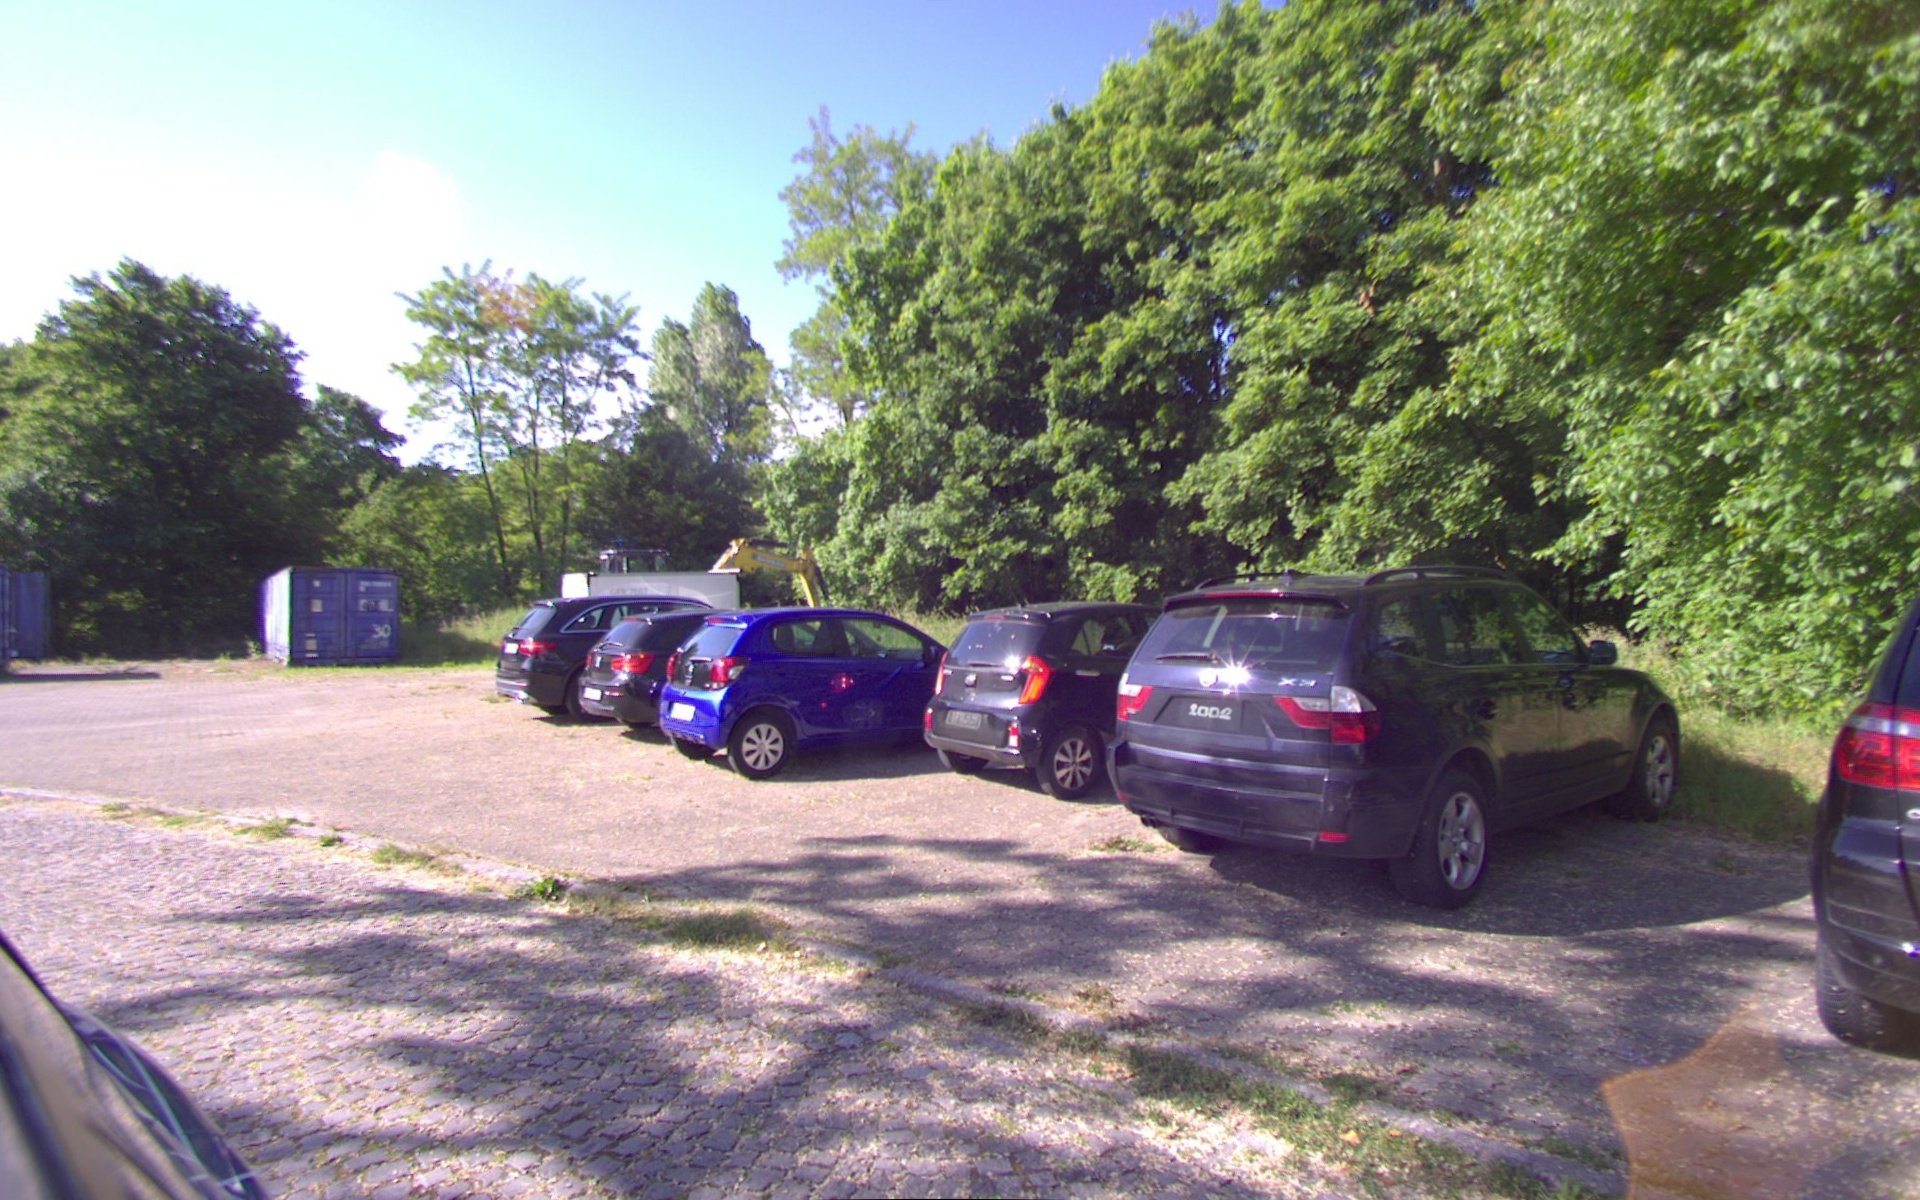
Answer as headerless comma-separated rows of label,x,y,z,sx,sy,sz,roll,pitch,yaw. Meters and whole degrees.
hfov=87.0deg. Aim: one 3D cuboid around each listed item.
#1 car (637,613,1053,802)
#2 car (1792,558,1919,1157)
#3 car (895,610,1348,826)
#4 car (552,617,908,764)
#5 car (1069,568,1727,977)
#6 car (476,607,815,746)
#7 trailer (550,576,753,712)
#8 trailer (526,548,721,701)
car,-1.067,0.904,10.113,3.728,1.469,1.790,-1,0,-37
car,4.632,0.622,3.696,4.208,1.601,1.832,-4,1,-42
car,1.466,0.848,8.860,3.662,1.462,1.749,-1,0,-32
car,-2.698,0.949,12.163,3.728,1.422,1.899,0,0,-38
car,2.868,0.685,6.230,4.204,1.643,1.884,-2,1,-37
car,-4.297,0.930,14.074,4.064,1.602,1.975,0,0,-38
trailer,-5.150,0.665,16.934,2.803,2.066,1.828,0,0,-36
trailer,-6.322,0.384,18.976,2.804,2.557,2.271,-3,1,-36
